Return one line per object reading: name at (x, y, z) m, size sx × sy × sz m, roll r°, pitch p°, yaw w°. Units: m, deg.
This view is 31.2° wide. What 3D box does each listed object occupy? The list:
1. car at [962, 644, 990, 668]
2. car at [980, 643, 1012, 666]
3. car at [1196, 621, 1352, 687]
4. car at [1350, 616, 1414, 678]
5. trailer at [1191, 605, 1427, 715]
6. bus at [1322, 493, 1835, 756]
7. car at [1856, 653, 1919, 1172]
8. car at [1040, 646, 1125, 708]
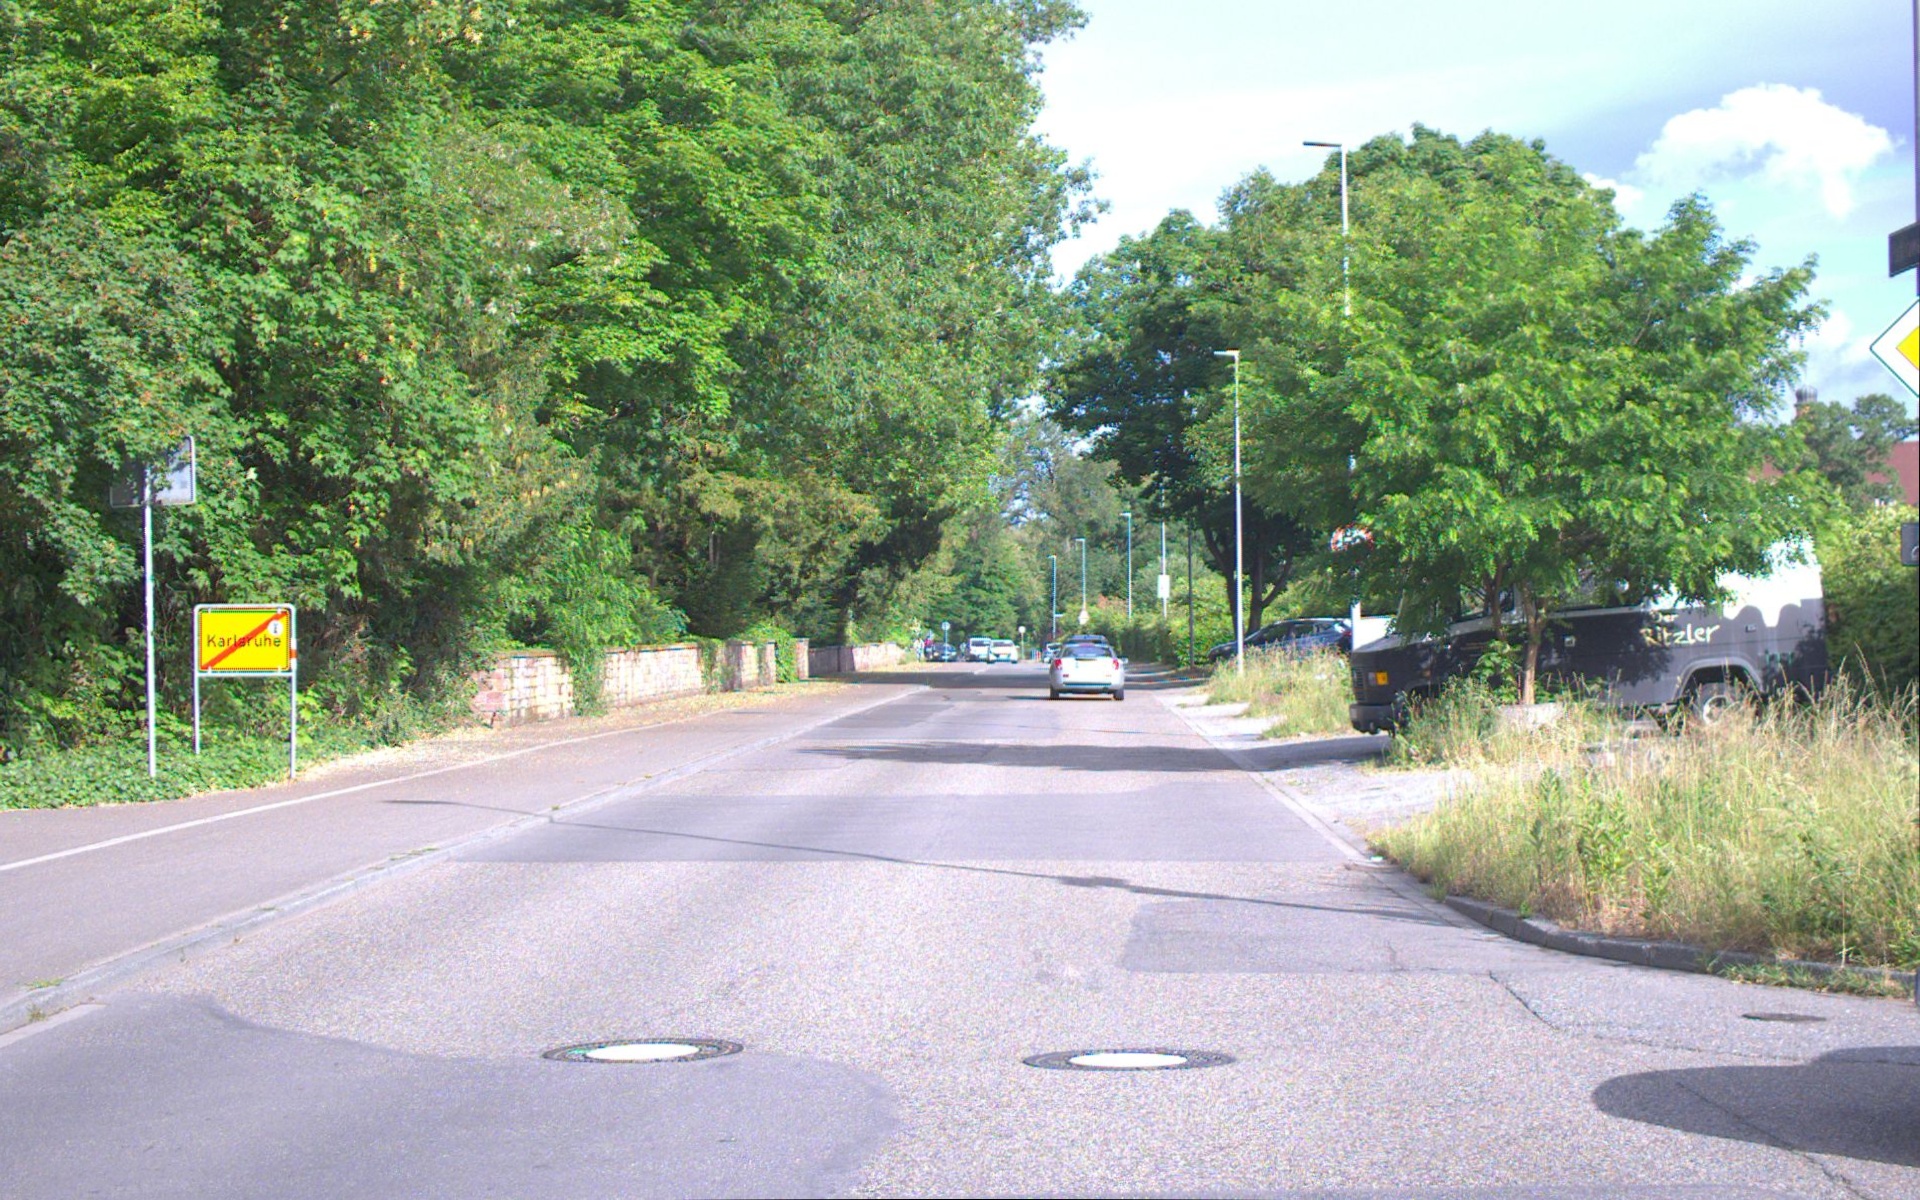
car at (1.141, 3.911, 238.856) m, size 1.886 × 1.608 × 4.054 m, roll -1°, pitch -1°, yaw 1°
car at (2.180, 3.297, 208.325) m, size 1.886 × 1.368 × 4.054 m, roll -1°, pitch -1°, yaw 0°
car at (9.174, 1.580, 100.774) m, size 4.403 × 1.641 × 2.000 m, roll -3°, pitch -1°, yaw 3°
car at (12.150, 1.343, 98.795) m, size 1.351 × 1.627 × 4.109 m, roll -3°, pitch 0°, yaw 12°
trailer at (6.346, 1.085, 62.621) m, size 4.153 × 1.829 × 1.916 m, roll -2°, pitch -1°, yaw 6°
bus at (6.967, 0.268, 39.124) m, size 5.365 × 2.737 × 2.068 m, roll -2°, pitch 0°, yaw -1°
car at (4.843, 0.812, 9.483) m, size 4.363 × 1.438 × 1.932 m, roll -2°, pitch -1°, yaw 9°
car at (2.814, 1.759, 79.658) m, size 1.886 × 1.368 × 4.054 m, roll -1°, pitch -1°, yaw 1°
